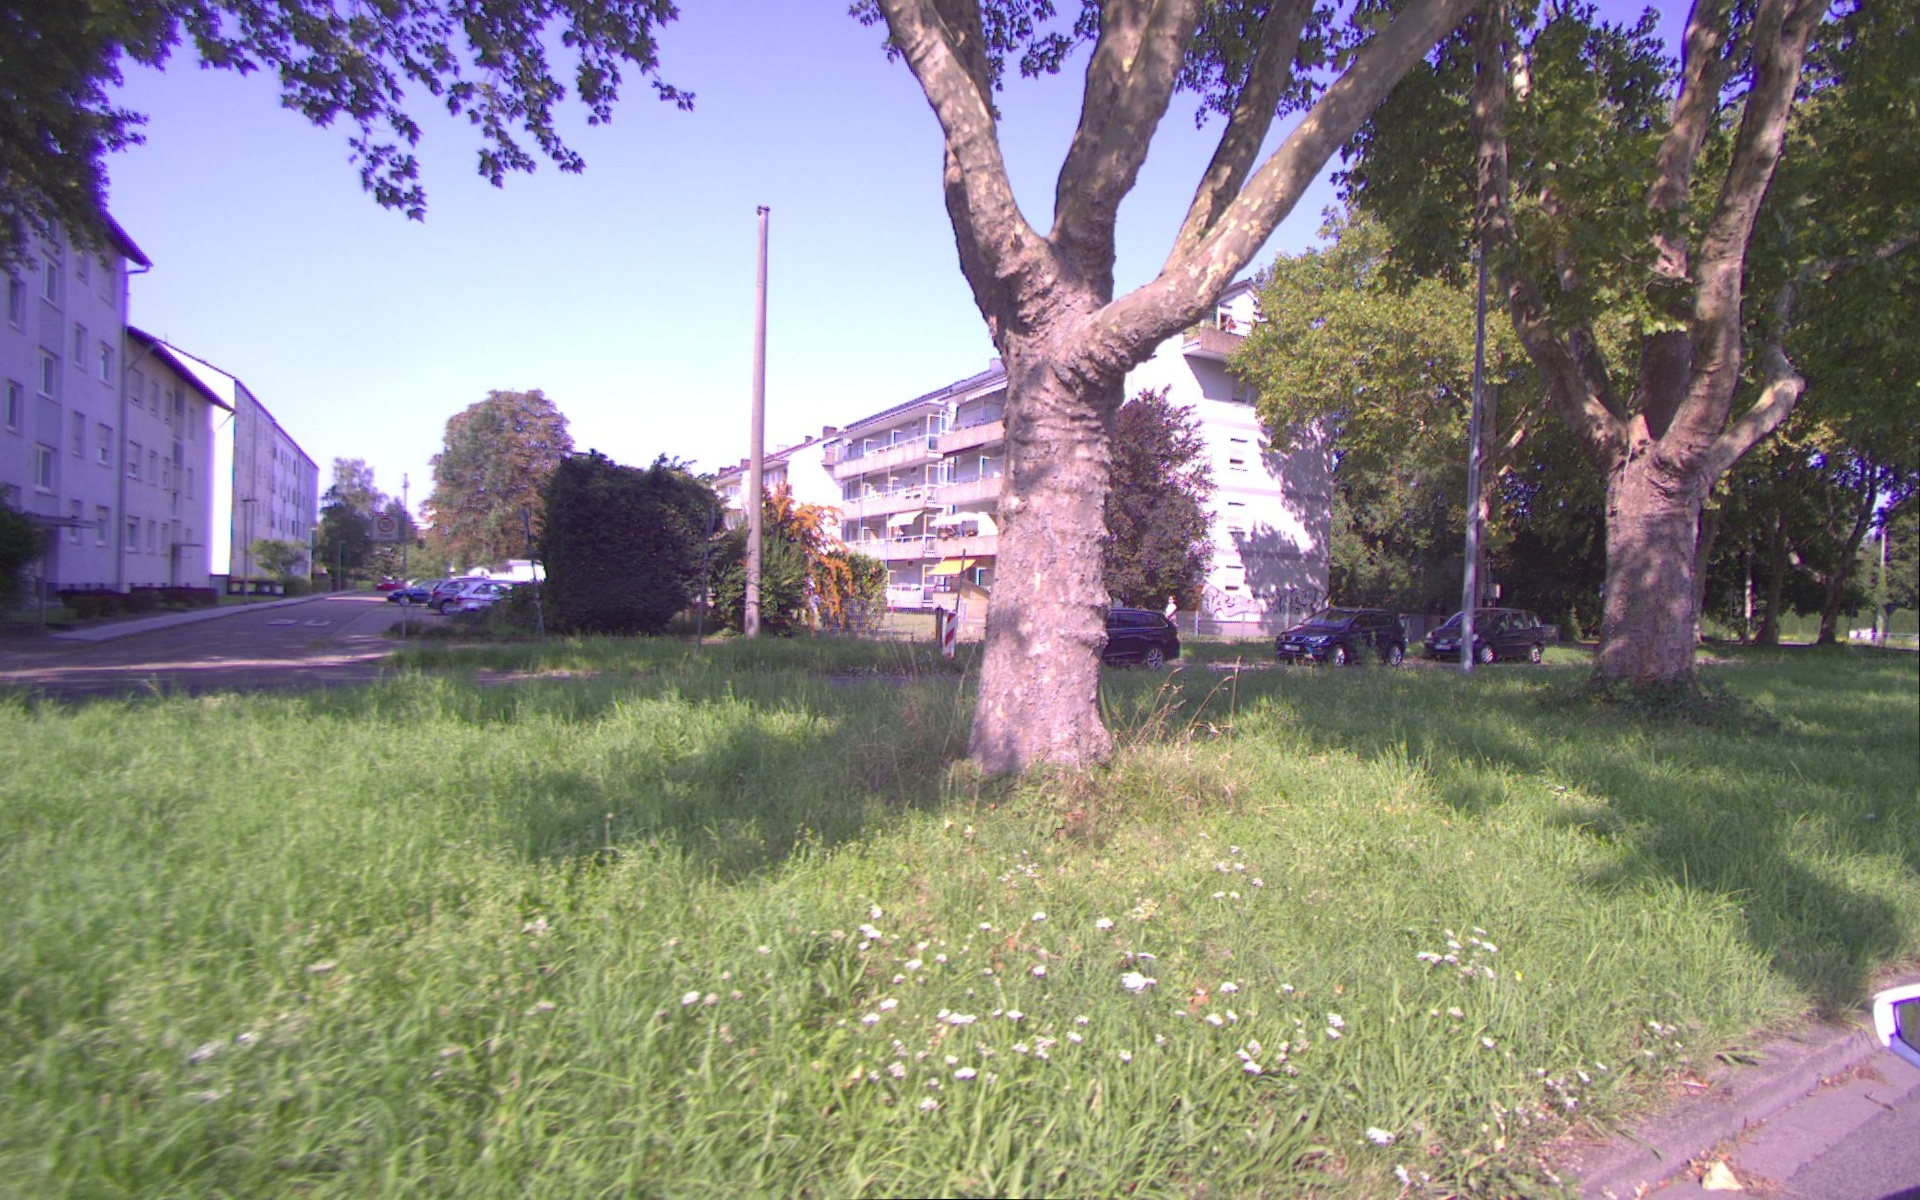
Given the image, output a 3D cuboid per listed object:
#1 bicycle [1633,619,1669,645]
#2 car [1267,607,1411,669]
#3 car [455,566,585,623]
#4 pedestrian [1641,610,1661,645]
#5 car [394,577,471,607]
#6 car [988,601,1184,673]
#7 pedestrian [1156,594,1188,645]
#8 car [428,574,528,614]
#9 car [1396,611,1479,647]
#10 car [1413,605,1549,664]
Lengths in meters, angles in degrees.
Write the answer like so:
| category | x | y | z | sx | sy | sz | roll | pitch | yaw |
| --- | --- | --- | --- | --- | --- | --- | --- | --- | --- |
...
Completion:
| category | x | y | z | sx | sy | sz | roll | pitch | yaw |
| --- | --- | --- | --- | --- | --- | --- | --- | --- | --- |
| bicycle | 34.695 | 1.623 | 50.411 | 2.734 | 1.215 | 0.540 | 2 | 1 | -35 |
| car | 10.636 | 1.069 | 28.124 | 3.954 | 1.588 | 1.690 | 2 | 0 | -31 |
| car | -14.115 | -0.161 | 32.344 | 3.696 | 1.648 | 1.605 | 2 | 1 | -24 |
| pedestrian | 34.642 | 1.366 | 50.364 | 0.651 | 1.713 | 0.539 | 2 | 1 | -35 |
| car | -28.567 | -0.419 | 54.527 | 3.634 | 1.458 | 1.537 | 2 | 1 | -27 |
| car | 3.018 | 0.864 | 23.656 | 4.489 | 1.528 | 1.690 | 2 | 0 | -31 |
| pedestrian | 7.031 | 0.638 | 33.313 | 0.727 | 1.667 | 0.643 | 2 | 1 | -32 |
| car | -19.903 | -0.245 | 41.537 | 3.634 | 1.458 | 1.537 | 2 | 1 | -27 |
| car | 25.761 | 1.586 | 54.224 | 4.331 | 1.749 | 1.691 | 2 | 1 | -26 |
| car | 16.818 | 1.129 | 32.343 | 4.606 | 1.755 | 1.690 | 2 | 1 | -31 |
